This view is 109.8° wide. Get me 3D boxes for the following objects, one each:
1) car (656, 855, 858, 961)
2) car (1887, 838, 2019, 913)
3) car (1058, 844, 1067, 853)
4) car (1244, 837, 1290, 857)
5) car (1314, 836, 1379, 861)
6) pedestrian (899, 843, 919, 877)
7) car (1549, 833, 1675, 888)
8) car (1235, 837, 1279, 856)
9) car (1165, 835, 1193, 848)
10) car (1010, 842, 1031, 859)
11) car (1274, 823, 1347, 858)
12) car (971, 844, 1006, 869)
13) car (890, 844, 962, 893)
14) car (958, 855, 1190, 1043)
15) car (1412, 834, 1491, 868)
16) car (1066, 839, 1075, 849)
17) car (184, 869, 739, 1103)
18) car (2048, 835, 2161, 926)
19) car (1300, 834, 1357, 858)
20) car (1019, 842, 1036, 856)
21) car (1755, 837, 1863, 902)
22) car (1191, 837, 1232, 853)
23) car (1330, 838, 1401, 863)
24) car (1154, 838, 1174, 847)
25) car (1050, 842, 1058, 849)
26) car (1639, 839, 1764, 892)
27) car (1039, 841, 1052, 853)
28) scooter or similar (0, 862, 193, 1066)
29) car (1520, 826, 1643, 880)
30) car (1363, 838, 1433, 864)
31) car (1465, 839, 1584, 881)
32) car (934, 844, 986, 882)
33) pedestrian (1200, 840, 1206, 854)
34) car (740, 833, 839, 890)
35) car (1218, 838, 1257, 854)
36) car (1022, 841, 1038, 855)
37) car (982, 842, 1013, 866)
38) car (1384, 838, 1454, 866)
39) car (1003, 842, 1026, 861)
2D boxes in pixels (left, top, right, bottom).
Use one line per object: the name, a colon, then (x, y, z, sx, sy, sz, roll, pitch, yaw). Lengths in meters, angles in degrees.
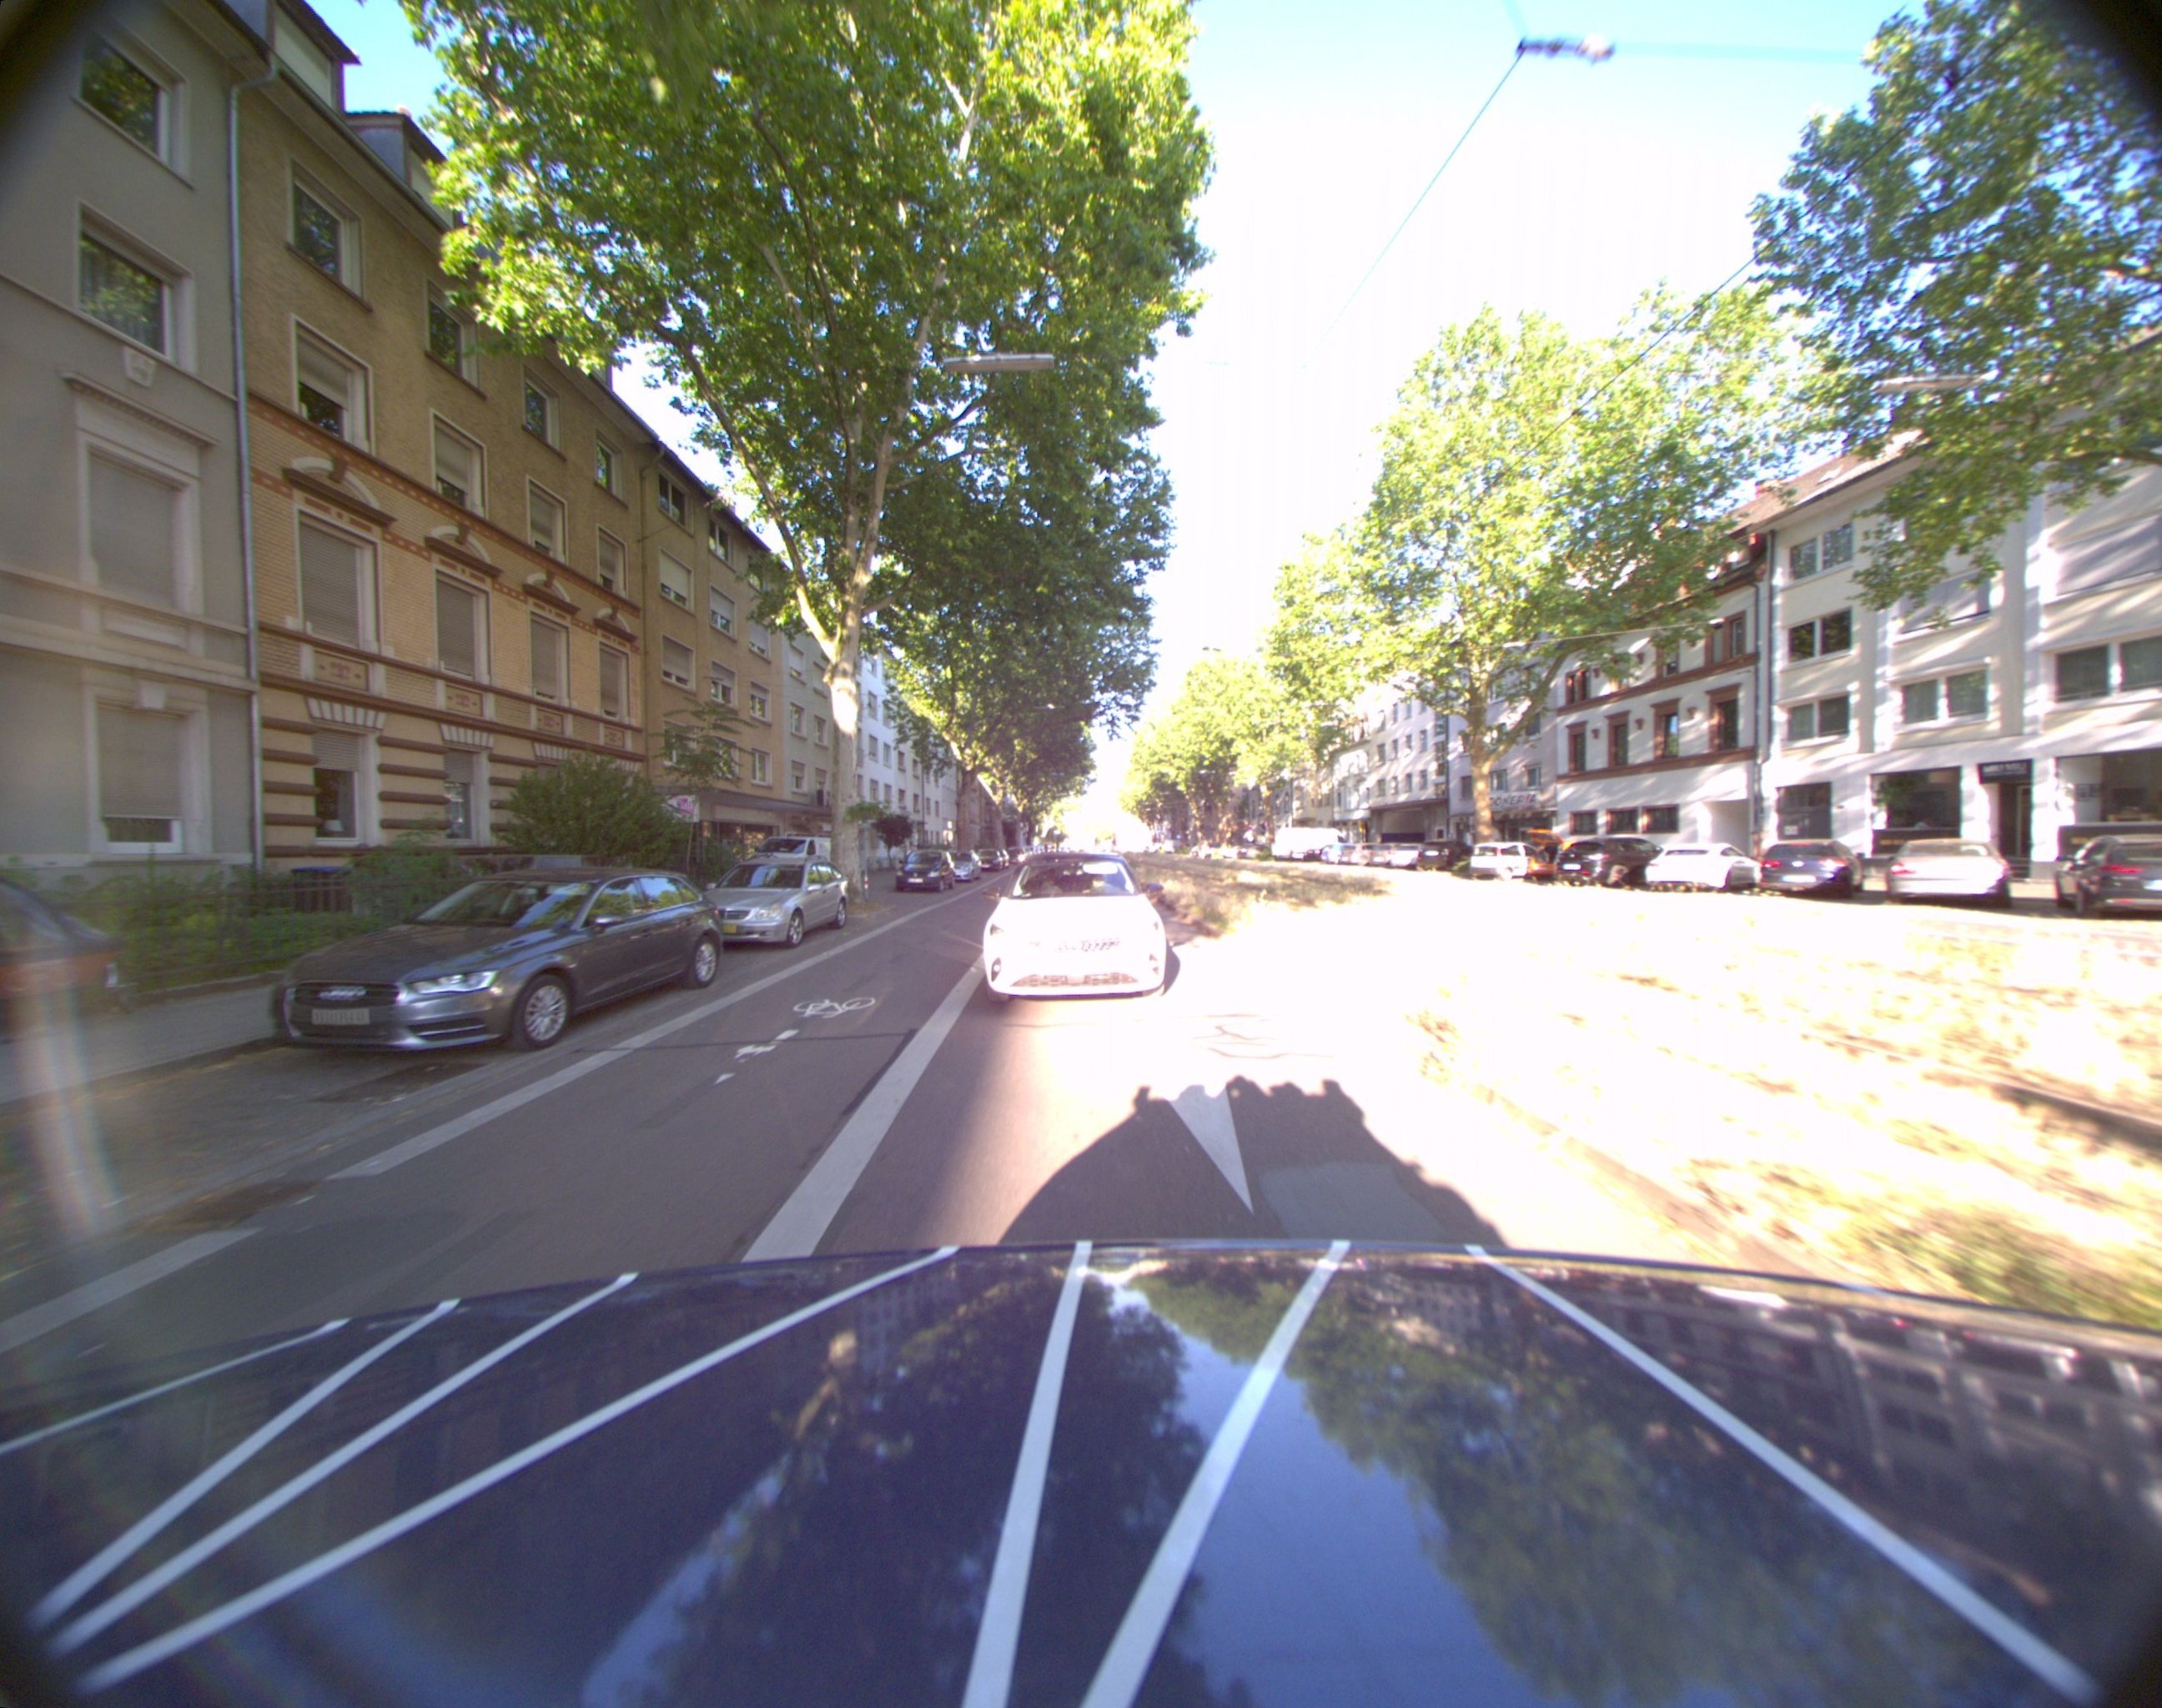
car: (-5.469, 0.804, 13.540, 1.803, 1.447, 4.510, 1, 1, -2)
car: (18.986, 0.404, 16.686, 3.979, 1.424, 1.738, -2, 0, -43)
car: (-4.528, -1.271, 183.547, 1.998, 2.002, 3.999, -3, 2, 0)
car: (18.092, -0.710, 73.741, 4.005, 1.805, 1.995, -1, 2, -27)
car: (18.286, -0.415, 52.273, 4.005, 1.609, 1.995, -1, 1, -27)
pedestrian: (-8.048, 0.273, 35.536, 0.728, 1.571, 0.701, -1, 2, 0)
car: (18.005, 0.172, 25.726, 4.265, 1.674, 2.147, -2, 2, -35)
car: (17.879, -0.766, 77.010, 4.005, 1.805, 1.995, -1, 2, -27)
car: (17.327, -2.220, 133.960, 4.951, 2.200, 2.096, -2, 2, -43)
car: (-6.151, -0.393, 77.692, 1.803, 1.599, 4.103, 1, 1, -1)
car: (18.580, -1.138, 61.568, 5.619, 2.685, 2.175, -1, 2, -25)
car: (-5.936, 0.144, 49.318, 1.803, 1.494, 4.368, 1, 1, -1)
car: (-5.651, 0.474, 28.223, 1.803, 1.599, 4.368, 1, 1, -1)
car: (-0.090, 0.786, 8.225, 1.865, 1.394, 3.930, -2, 1, -1)
car: (18.665, -0.178, 38.193, 4.265, 1.605, 1.902, -2, 2, -38)
car: (-2.288, -2.223, 165.372, 1.999, 2.002, 3.998, -3, 2, 0)
car: (-5.220, 0.951, 7.380, 1.802, 1.394, 4.369, 1, 1, 0)
car: (18.948, 0.401, 13.543, 3.979, 1.423, 1.767, -2, 2, -43)
car: (19.188, -0.626, 58.903, 4.005, 1.805, 1.995, -1, 2, -27)
car: (-6.299, -0.615, 90.373, 1.803, 1.599, 4.103, 1, 1, -1)
car: (19.209, 0.341, 19.995, 3.979, 1.496, 1.826, -2, 2, -43)
car: (15.048, -1.041, 87.705, 4.235, 1.696, 1.999, -1, 1, -4)
car: (18.409, -0.255, 49.150, 4.004, 1.509, 1.996, -1, 1, -21)
car: (17.274, -2.442, 157.574, 3.994, 1.802, 1.874, -1, 1, 9)
car: (-8.240, -2.653, 231.138, 1.998, 1.850, 4.000, -3, 2, 5)
car: (18.352, 0.285, 22.423, 4.265, 1.369, 2.147, -2, 2, -41)
car: (-5.364, -1.070, 113.633, 1.803, 1.598, 3.701, 1, 1, -1)
scooter or similar: (-8.282, 0.833, 5.499, 0.666, 1.461, 2.544, -1, 1, 0)
car: (19.175, -0.064, 29.119, 4.260, 1.932, 1.514, -1, 2, -16)
car: (18.782, -0.200, 44.959, 4.265, 1.449, 1.902, -2, 2, -36)
car: (17.871, 0.207, 30.642, 4.260, 1.549, 1.641, -1, 1, -16)
car: (-5.667, 0.364, 35.997, 1.803, 1.599, 4.368, 1, 1, -1)
pedestrian: (13.956, -0.809, 86.697, 0.620, 1.588, 0.422, -1, 2, 0)
car: (-10.620, 0.207, 28.070, 1.933, 1.864, 4.676, 1, 1, -1)
car: (17.632, -0.886, 85.605, 4.005, 1.696, 1.995, -1, 1, -27)
car: (-6.433, -0.793, 96.751, 1.803, 1.743, 4.103, 1, 1, -1)
car: (-5.915, -0.012, 54.472, 1.803, 1.599, 4.368, 1, 1, -1)
car: (18.583, -0.136, 41.681, 4.265, 1.451, 1.598, -2, 2, -36)
car: (-6.060, -0.231, 69.989, 1.803, 1.599, 4.103, 1, 1, -1)
